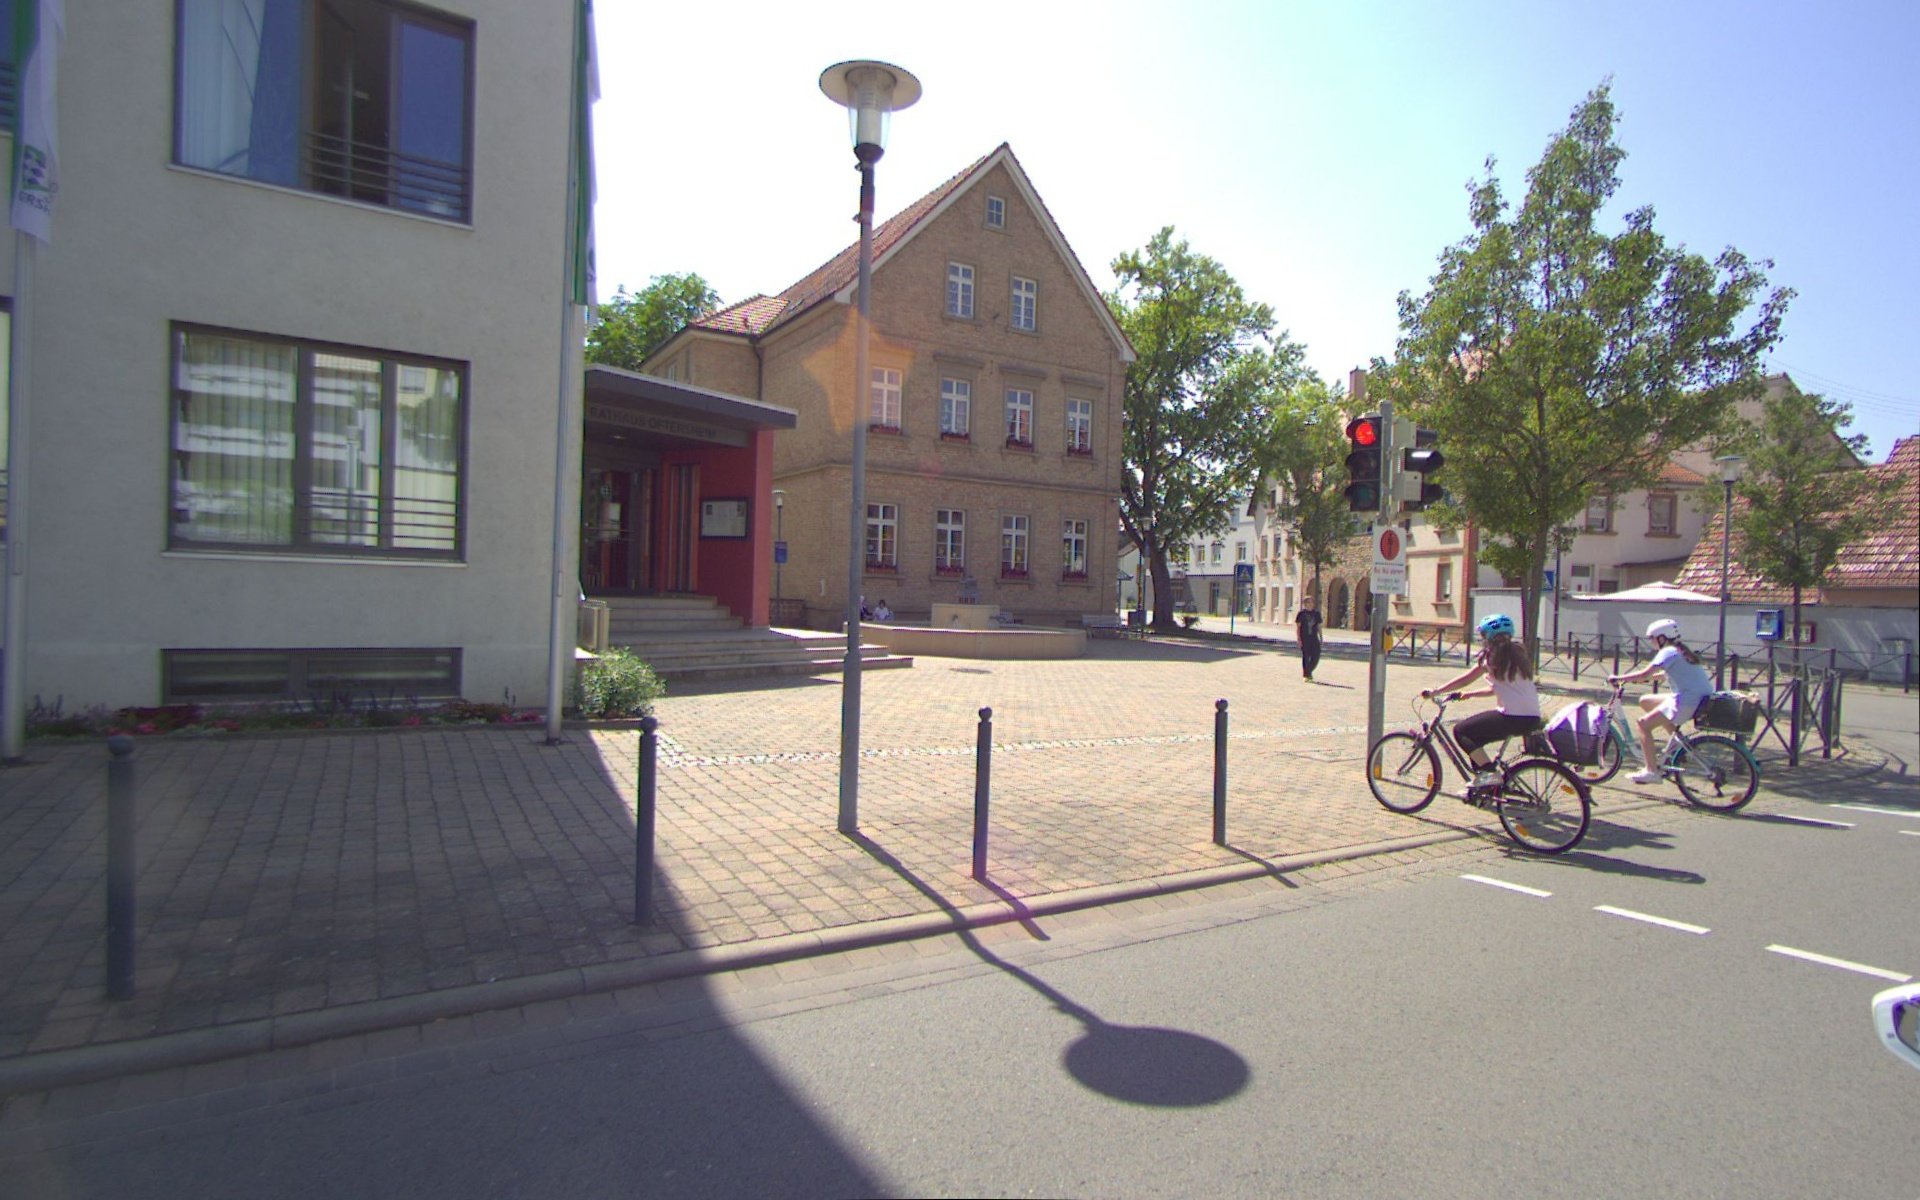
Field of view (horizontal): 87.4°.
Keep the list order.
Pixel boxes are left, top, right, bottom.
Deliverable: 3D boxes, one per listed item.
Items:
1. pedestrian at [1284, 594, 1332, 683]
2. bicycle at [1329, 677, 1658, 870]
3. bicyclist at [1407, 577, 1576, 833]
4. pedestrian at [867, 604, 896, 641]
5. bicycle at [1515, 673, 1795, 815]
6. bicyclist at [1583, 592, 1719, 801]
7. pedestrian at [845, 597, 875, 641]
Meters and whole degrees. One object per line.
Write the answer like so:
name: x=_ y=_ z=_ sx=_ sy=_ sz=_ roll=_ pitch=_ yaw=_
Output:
pedestrian: x=6.836 y=0.740 z=19.741 sx=0.798 sy=1.676 sz=0.851 roll=3 pitch=1 yaw=19
bicycle: x=3.565 y=1.098 z=6.883 sx=0.669 sy=0.971 sz=1.876 roll=1 pitch=1 yaw=-36
bicyclist: x=3.603 y=0.663 z=6.831 sx=0.664 sy=1.603 sz=0.753 roll=1 pitch=2 yaw=-36
pedestrian: x=-2.256 y=0.653 z=28.908 sx=0.611 sy=1.041 sz=0.636 roll=2 pitch=1 yaw=-29
bicycle: x=5.873 y=1.167 z=8.616 sx=0.668 sy=0.970 sz=1.881 roll=1 pitch=-1 yaw=-30
bicyclist: x=5.899 y=0.786 z=8.587 sx=0.663 sy=1.686 sz=0.755 roll=1 pitch=-1 yaw=-30
pedestrian: x=-2.845 y=0.537 z=28.501 sx=0.611 sy=1.186 sz=0.636 roll=2 pitch=1 yaw=-29
